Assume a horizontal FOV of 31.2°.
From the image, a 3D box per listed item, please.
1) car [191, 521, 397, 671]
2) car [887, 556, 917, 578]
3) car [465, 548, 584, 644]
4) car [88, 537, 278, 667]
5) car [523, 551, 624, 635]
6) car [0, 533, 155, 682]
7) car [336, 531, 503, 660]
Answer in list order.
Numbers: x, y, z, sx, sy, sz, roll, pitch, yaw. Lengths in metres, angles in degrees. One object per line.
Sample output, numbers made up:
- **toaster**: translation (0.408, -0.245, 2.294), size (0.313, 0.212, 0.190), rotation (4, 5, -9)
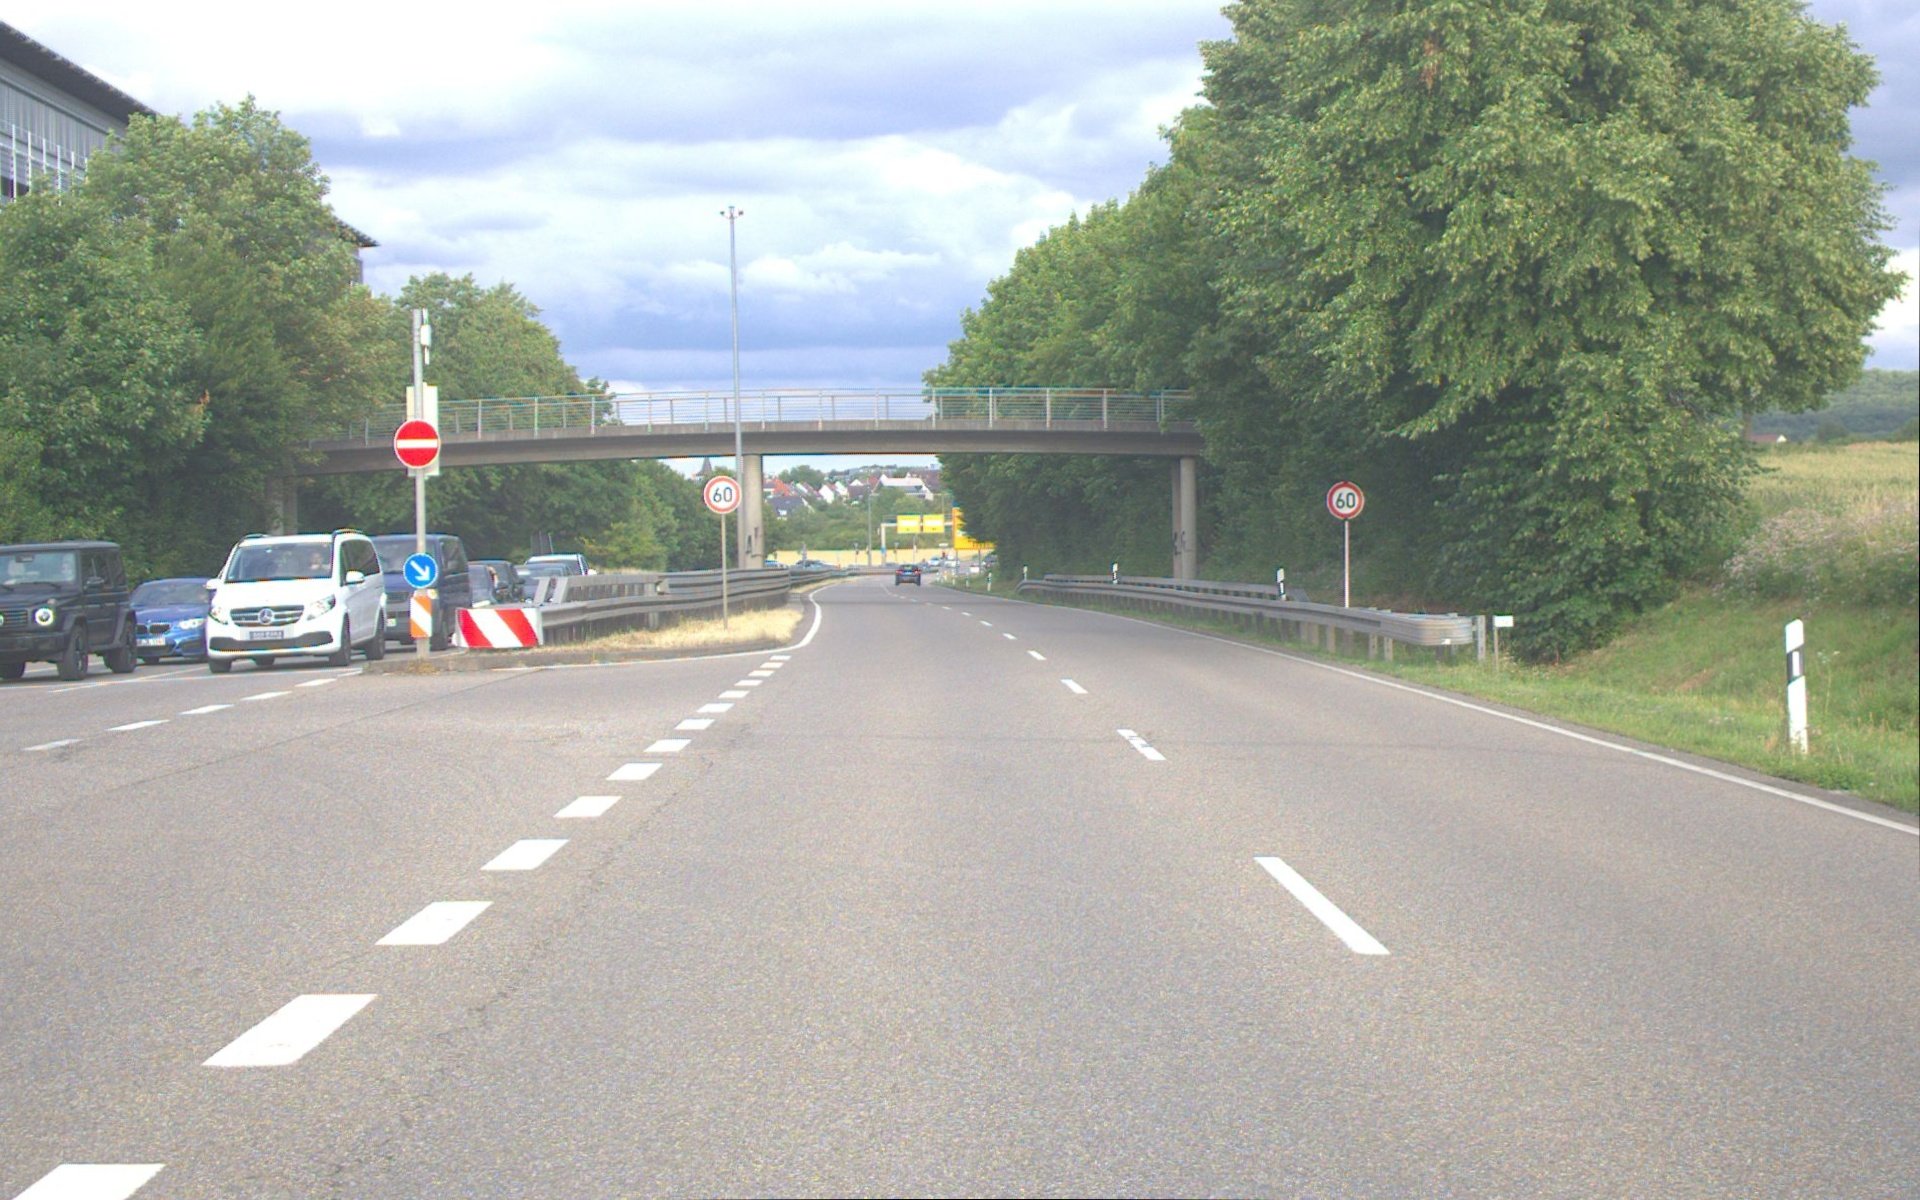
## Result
- **car**: translation (-9.486, -0.080, 49.375), size (2.083, 2.007, 5.217), rotation (1, 0, -2)
- **car**: translation (-4.183, -2.346, 246.444), size (1.879, 1.547, 4.001), rotation (1, 0, -5)
- **car**: translation (-9.544, -0.109, 75.658), size (2.083, 2.007, 5.217), rotation (1, 0, -2)
- **car**: translation (-12.752, 0.005, 56.766), size (2.083, 2.007, 5.217), rotation (1, 0, -2)
- **car**: translation (-9.637, -0.205, 86.055), size (2.083, 2.007, 5.217), rotation (1, 0, -2)
- **car**: translation (-13.120, 0.067, 49.265), size (2.083, 2.007, 5.217), rotation (1, 0, -2)
- **car**: translation (-8.908, -0.097, 57.112), size (2.083, 2.007, 5.217), rotation (1, 0, -2)
